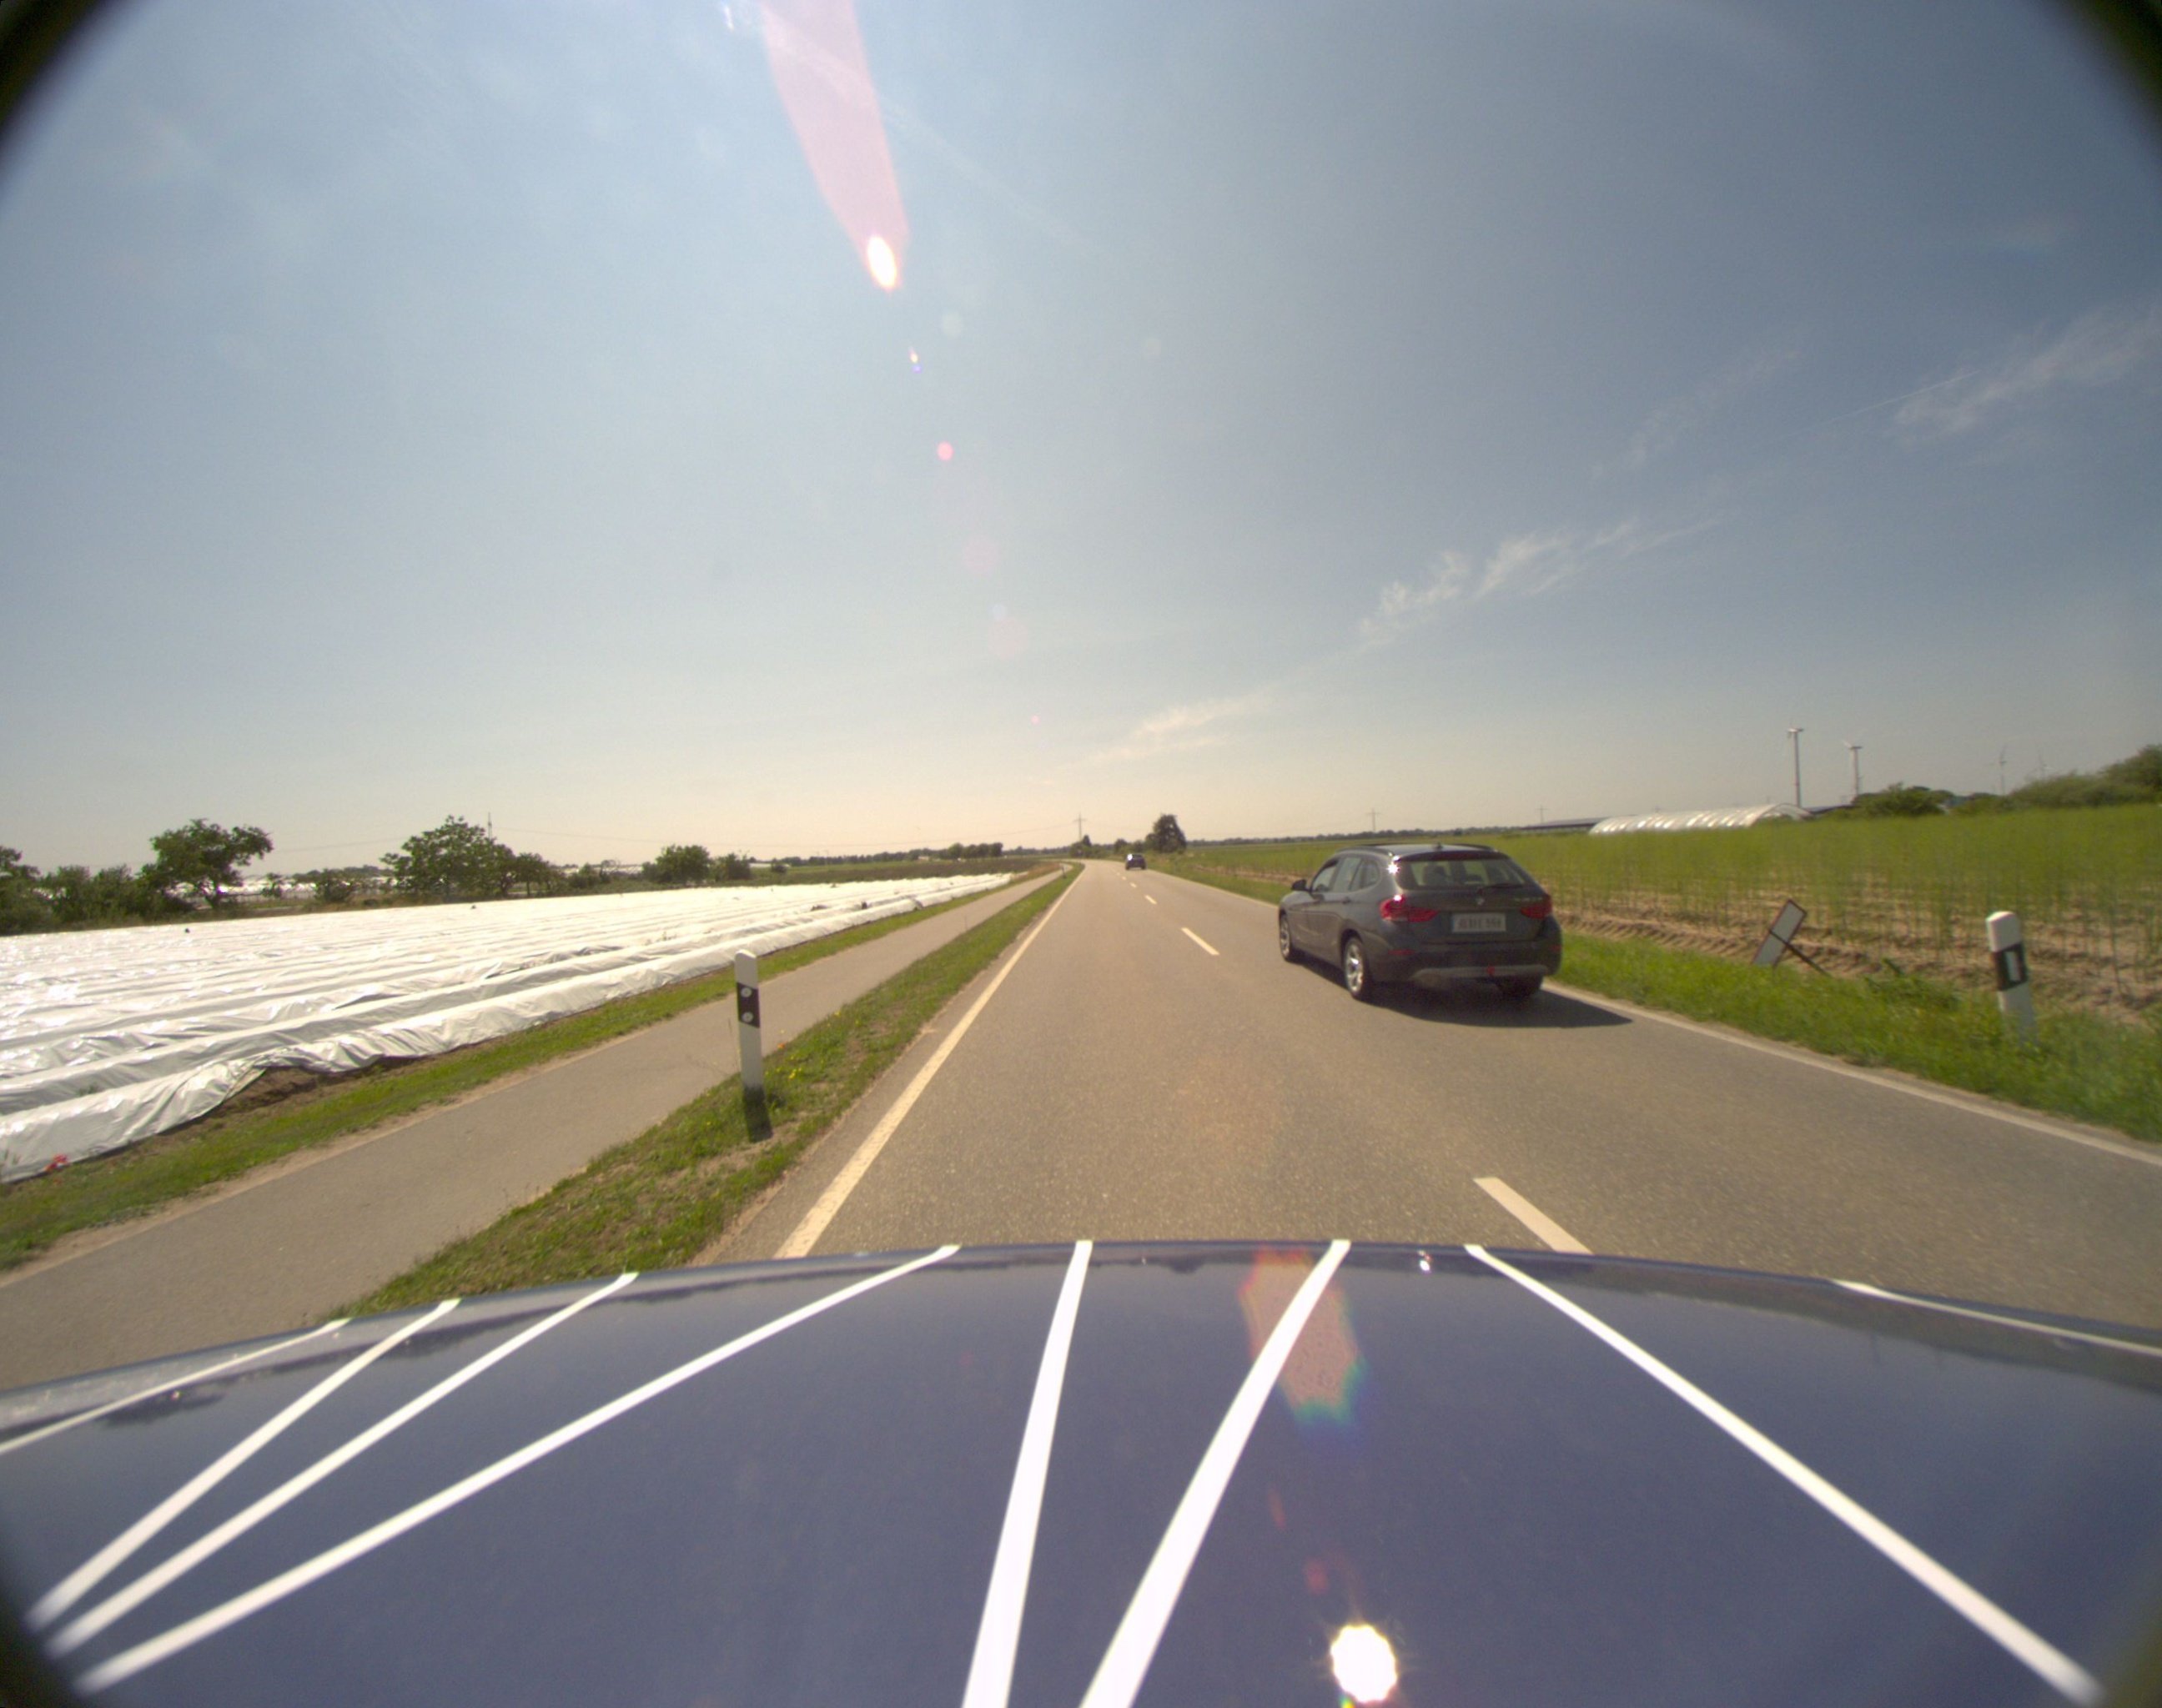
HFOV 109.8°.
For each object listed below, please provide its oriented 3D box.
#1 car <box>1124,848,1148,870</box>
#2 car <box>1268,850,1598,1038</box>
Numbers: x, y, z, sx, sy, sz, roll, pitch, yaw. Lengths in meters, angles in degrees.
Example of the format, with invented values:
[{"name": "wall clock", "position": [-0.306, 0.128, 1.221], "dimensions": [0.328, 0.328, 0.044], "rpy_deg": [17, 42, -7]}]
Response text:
[{"name": "car", "position": [5.198, 0.461, 72.767], "dimensions": [1.998, 2.002, 3.999], "rpy_deg": [-2, 1, 1]}, {"name": "car", "position": [3.511, 0.753, 8.534], "dimensions": [1.744, 1.523, 4.141], "rpy_deg": [-2, 1, 0]}]
